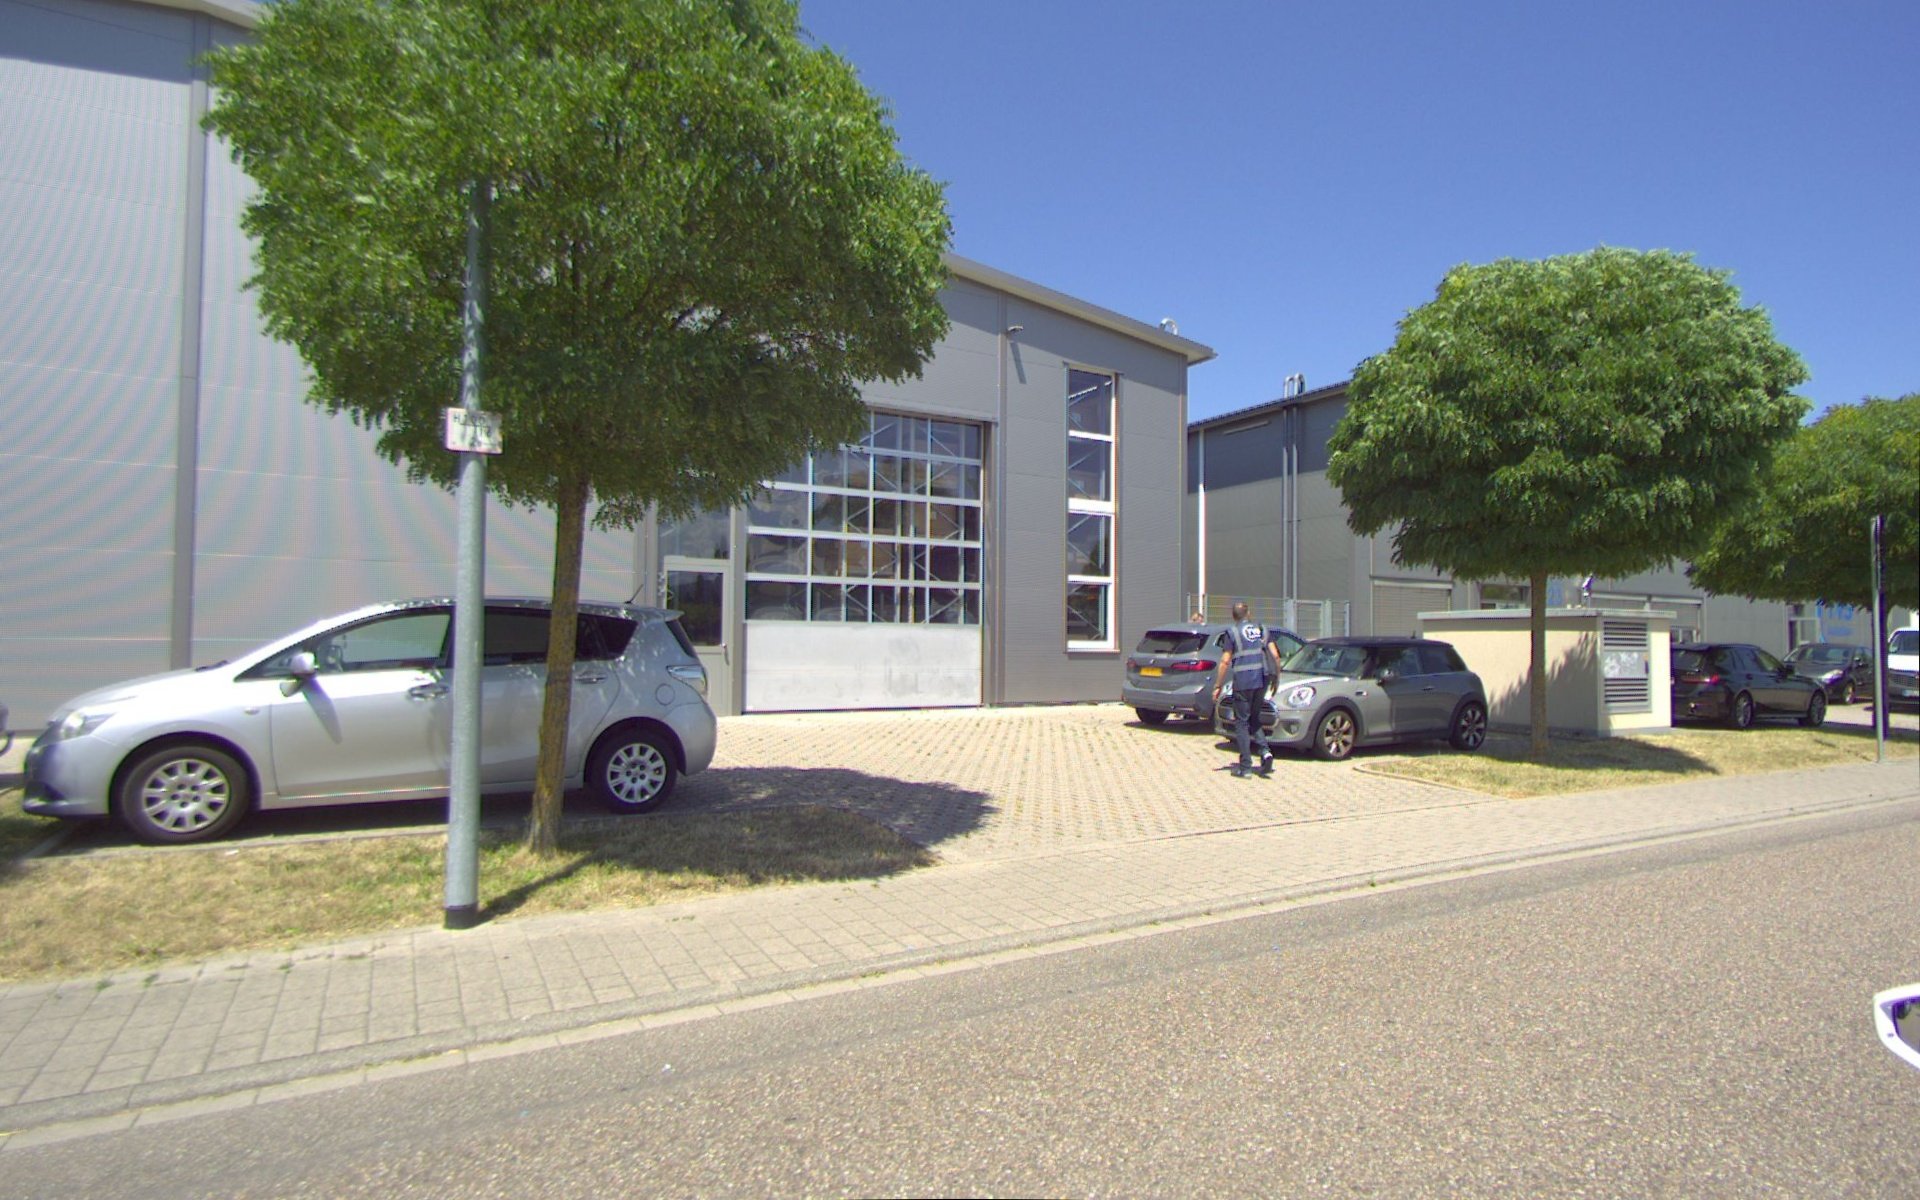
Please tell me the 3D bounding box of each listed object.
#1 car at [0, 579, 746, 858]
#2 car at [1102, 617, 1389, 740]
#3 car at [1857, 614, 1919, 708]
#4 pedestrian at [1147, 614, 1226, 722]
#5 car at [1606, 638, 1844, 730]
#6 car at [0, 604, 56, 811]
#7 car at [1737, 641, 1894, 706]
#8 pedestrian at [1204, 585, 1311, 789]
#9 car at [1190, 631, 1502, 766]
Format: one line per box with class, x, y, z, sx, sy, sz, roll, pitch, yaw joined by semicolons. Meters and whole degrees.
car;-4.065;0.739;7.546;4.485;1.594;1.758;2;-1;-30
car;4.440;1.139;15.479;4.295;1.649;1.728;2;-1;-29
car;23.013;1.408;23.432;5.069;2.045;1.827;2;-1;-32
pedestrian;3.779;1.120;16.791;0.953;1.736;0.836;2;-1;-30
car;13.824;1.446;18.099;4.658;1.472;1.758;2;-2;-30
car;-9.002;0.748;7.075;3.667;1.520;1.672;2;-1;-35
car;21.967;1.831;25.763;4.041;1.460;1.916;2;0;-32
pedestrian;3.063;0.861;10.417;0.945;1.998;0.843;1;-1;10
car;5.023;1.184;13.010;3.793;1.472;1.758;2;-1;-29
